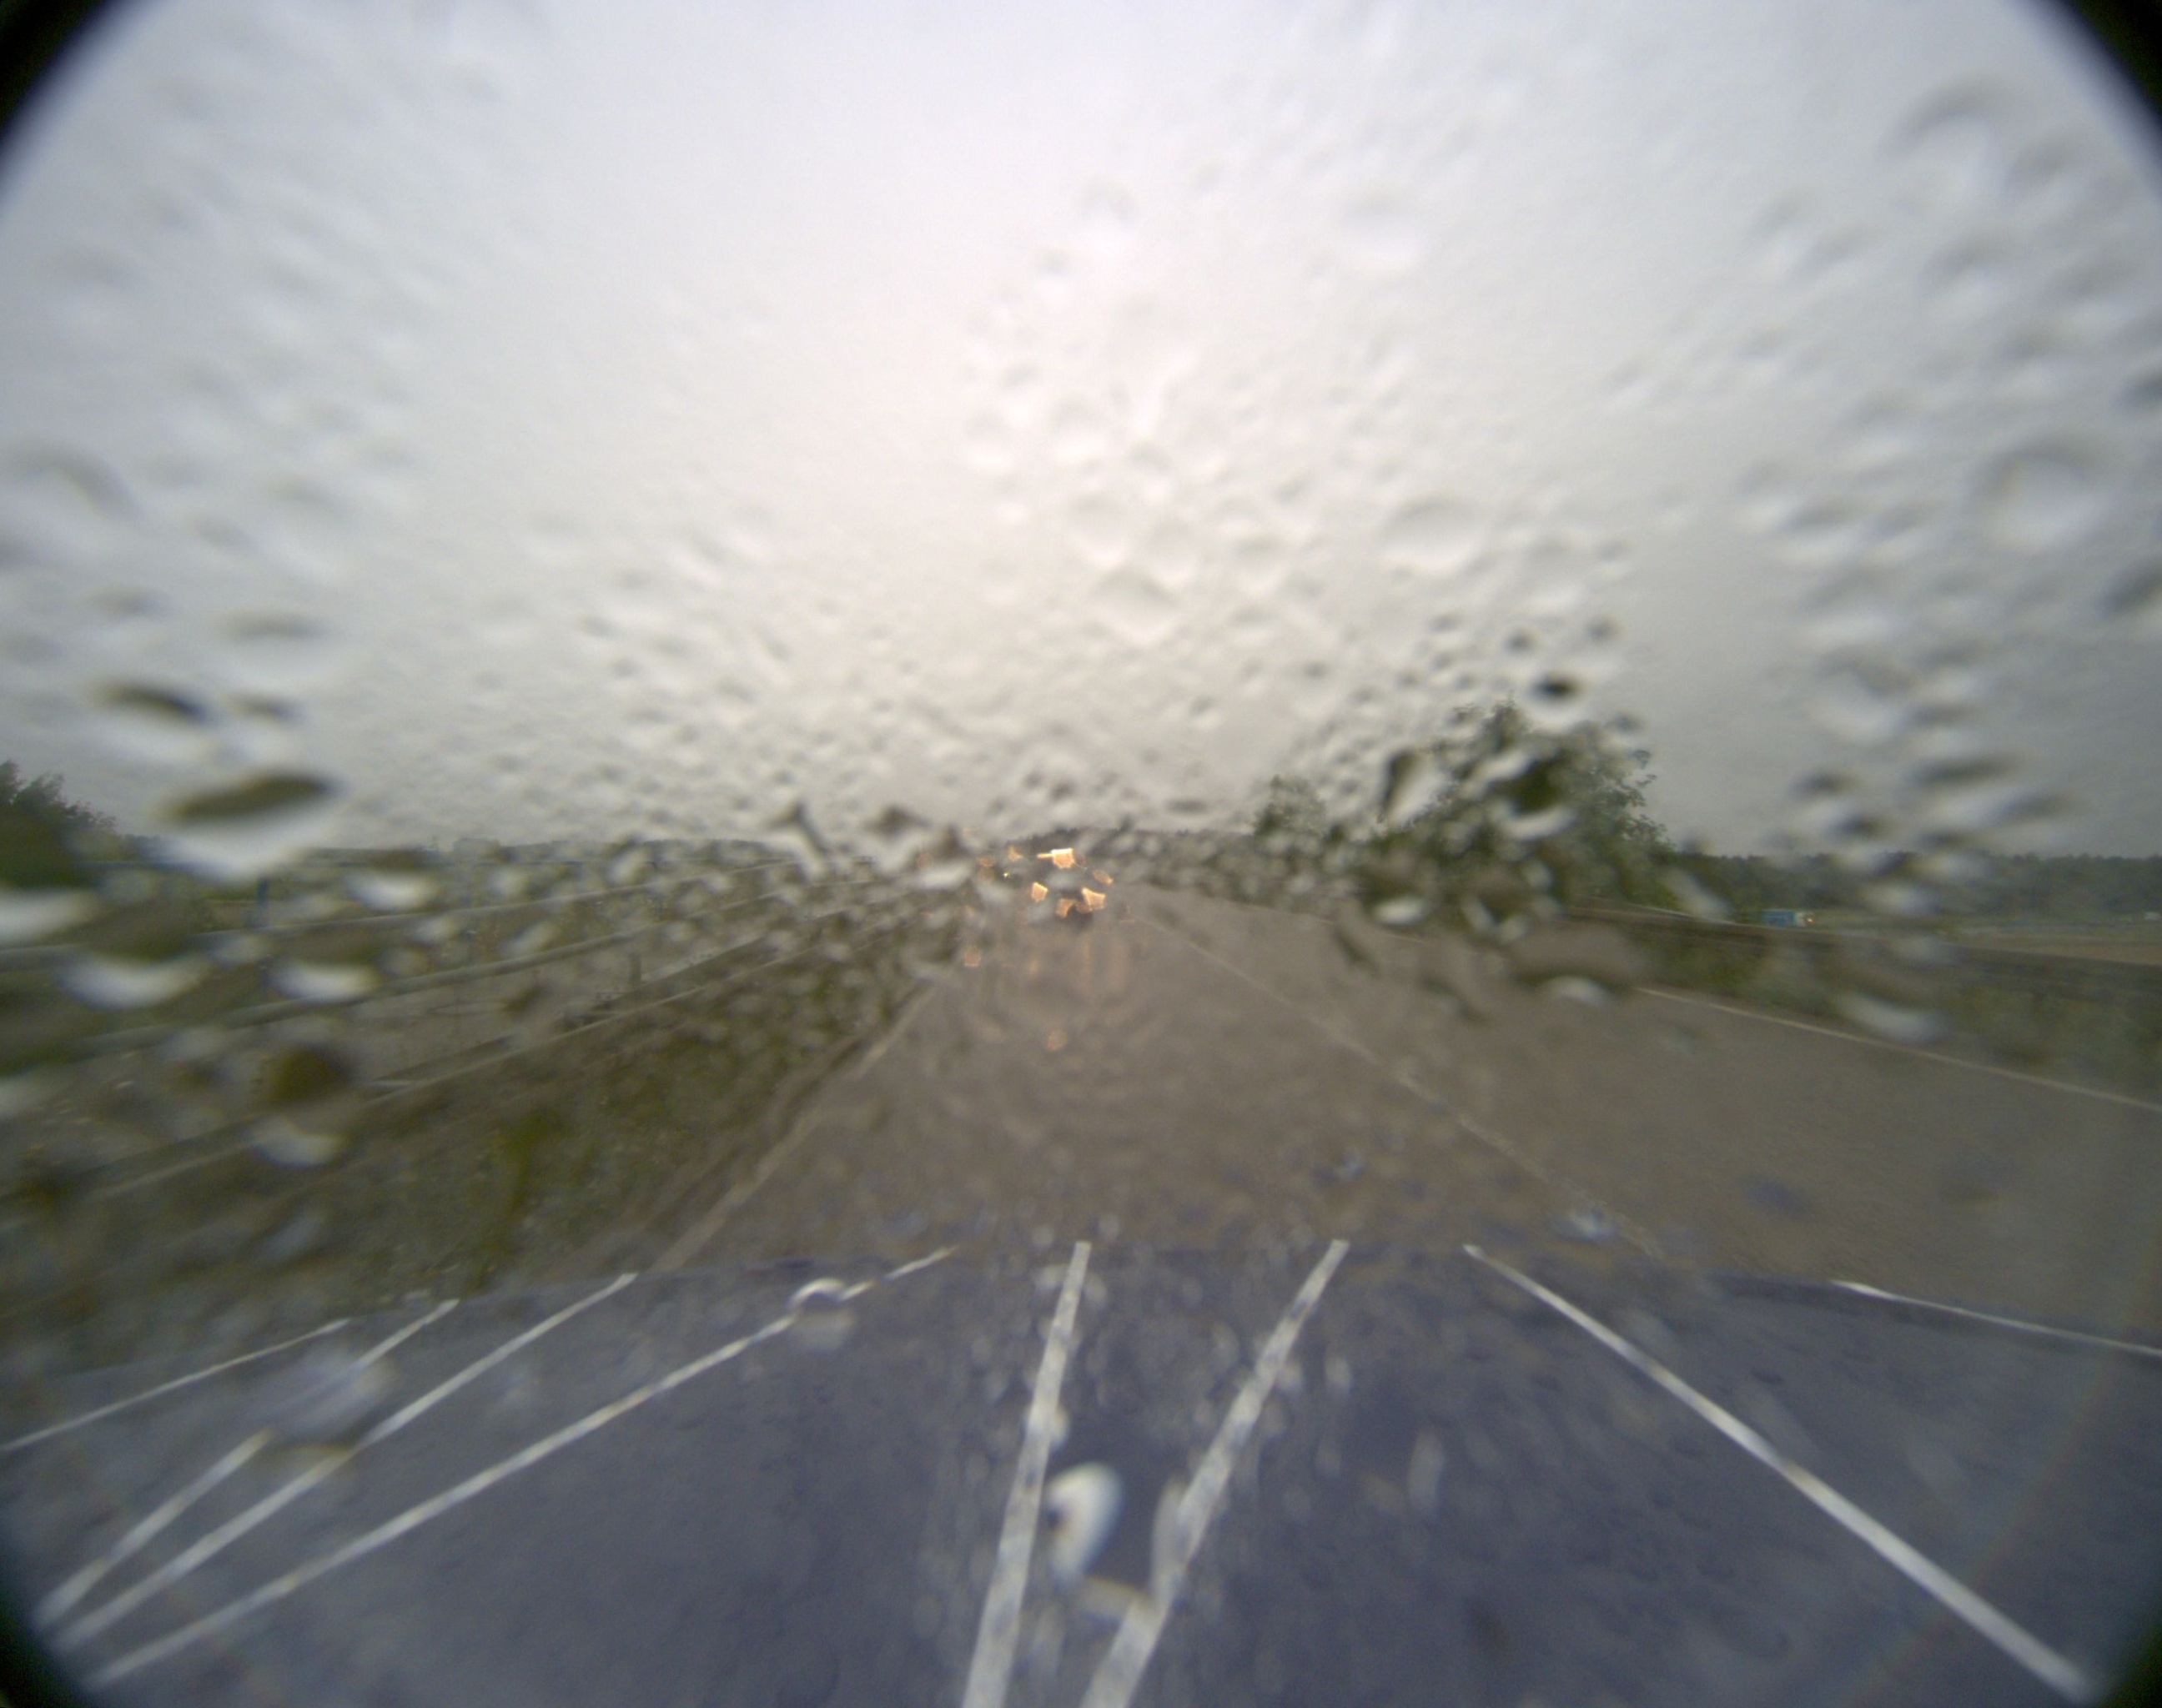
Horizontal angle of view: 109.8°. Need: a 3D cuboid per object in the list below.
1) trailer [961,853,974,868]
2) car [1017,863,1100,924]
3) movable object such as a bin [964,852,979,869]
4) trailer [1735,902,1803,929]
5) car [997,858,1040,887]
[{"bbox_3d":[-30.292,1.775,202.423,2.828,3.946,13.723,1,-1,-11],"label":"trailer"},{"bbox_3d":[-0.692,0.949,19.844,1.820,1.382,4.066,0,0,-7],"label":"car"},{"bbox_3d":[-23.519,1.391,162.686,2.759,3.425,4.637,2,0,-13],"label":"movable object such as a bin"},{"bbox_3d":[116.973,10.390,129.093,14.387,4.193,2.876,1,-1,-23],"label":"trailer"},{"bbox_3d":[-3.302,0.919,39.506,1.821,1.382,4.065,-1,0,-11],"label":"car"}]
